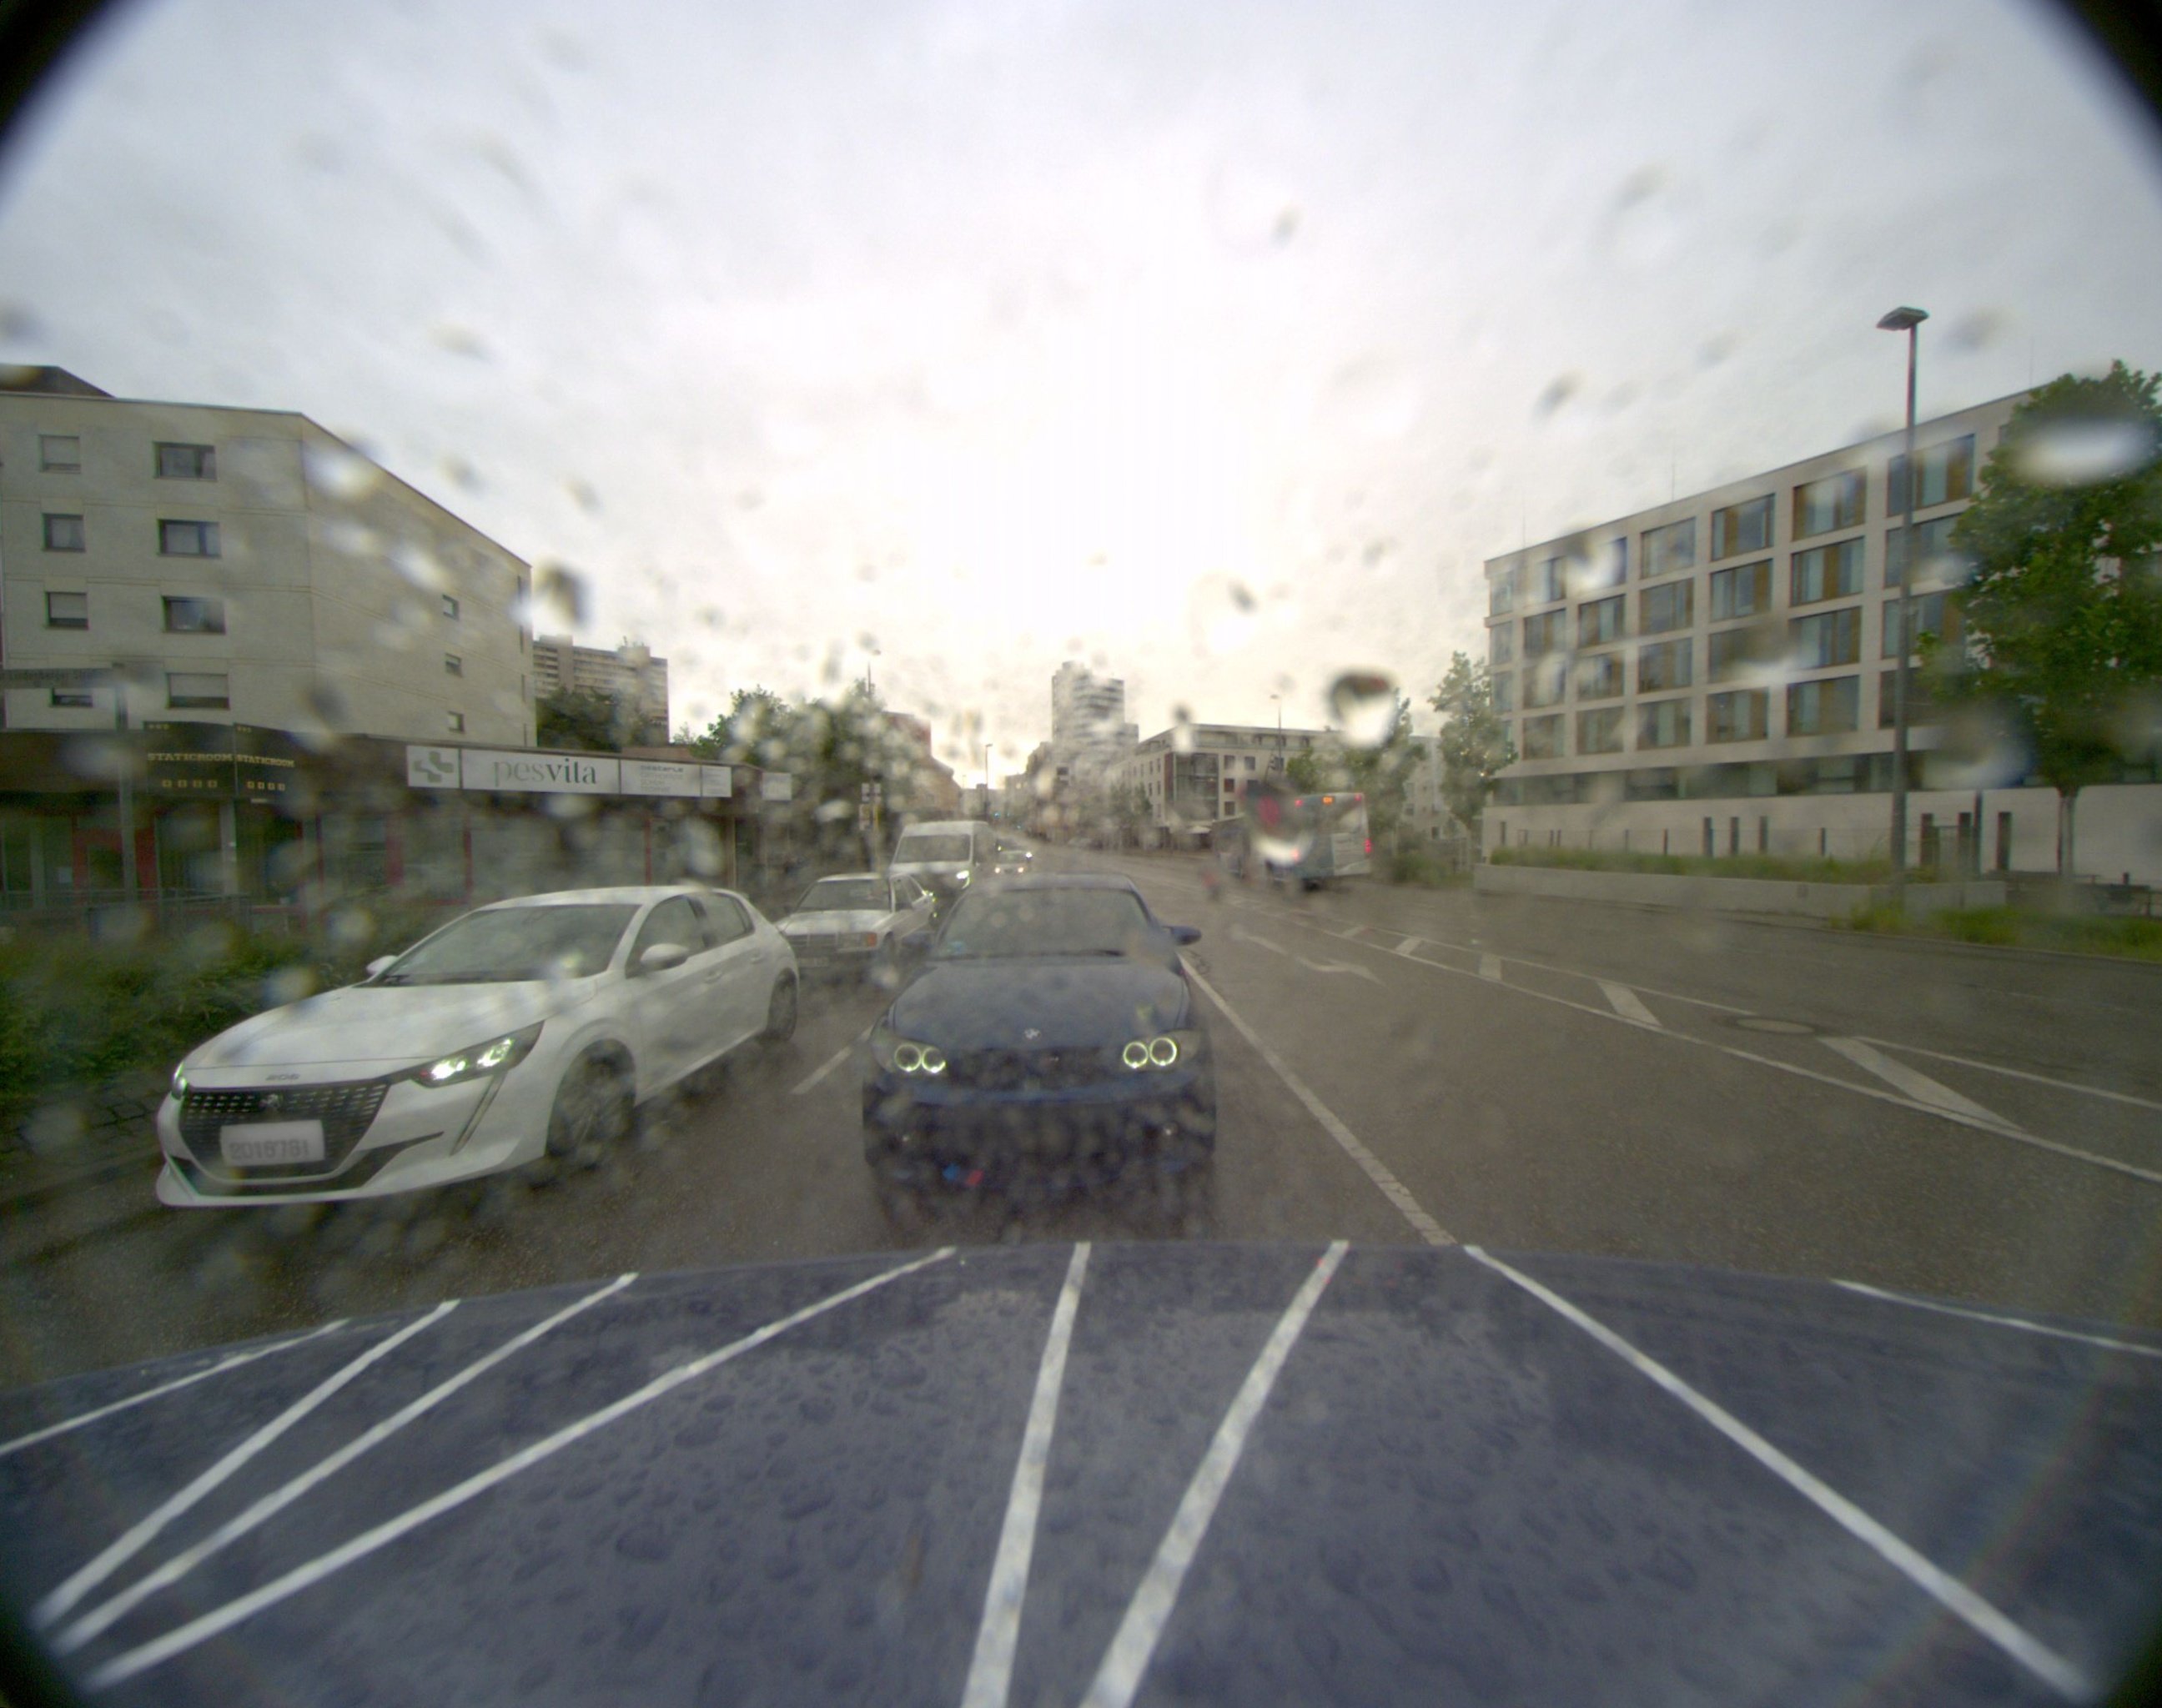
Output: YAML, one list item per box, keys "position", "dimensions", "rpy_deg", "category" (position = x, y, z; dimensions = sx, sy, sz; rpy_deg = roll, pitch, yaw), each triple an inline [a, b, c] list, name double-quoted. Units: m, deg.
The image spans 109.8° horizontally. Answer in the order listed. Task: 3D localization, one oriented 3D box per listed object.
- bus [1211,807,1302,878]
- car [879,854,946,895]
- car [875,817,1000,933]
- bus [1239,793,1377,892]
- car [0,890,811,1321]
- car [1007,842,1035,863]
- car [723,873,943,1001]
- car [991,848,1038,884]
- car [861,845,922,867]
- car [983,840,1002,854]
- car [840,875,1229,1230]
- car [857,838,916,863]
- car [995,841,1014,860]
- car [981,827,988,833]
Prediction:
- position: [8.470, -0.547, 37.838]
  dimensions: [2.798, 3.096, 8.884]
  rpy_deg: [0, 1, 2]
  category: "bus"
- position: [-6.933, 0.790, 31.612]
  dimensions: [1.788, 1.481, 4.000]
  rpy_deg: [-2, 1, 1]
  category: "car"
- position: [-3.488, 0.399, 19.840]
  dimensions: [2.197, 2.503, 6.120]
  rpy_deg: [-1, 1, -2]
  category: "car"
- position: [8.165, -0.426, 28.740]
  dimensions: [2.783, 3.096, 9.368]
  rpy_deg: [0, 1, 2]
  category: "bus"
- position: [-3.387, 1.086, 5.020]
  dimensions: [1.666, 1.407, 4.114]
  rpy_deg: [-2, 1, 1]
  category: "car"
- position: [-4.950, -0.168, 63.148]
  dimensions: [1.999, 1.559, 3.998]
  rpy_deg: [-2, 1, -1]
  category: "car"
- position: [-3.373, 1.062, 11.263]
  dimensions: [1.788, 1.338, 4.162]
  rpy_deg: [-2, 1, 1]
  category: "car"
- position: [-3.149, 0.543, 36.613]
  dimensions: [1.803, 1.530, 3.999]
  rpy_deg: [-2, 1, 1]
  category: "car"
- position: [-13.145, 0.116, 52.994]
  dimensions: [4.000, 1.419, 1.882]
  rpy_deg: [-1, 1, -10]
  category: "car"
- position: [-11.685, -0.895, 100.384]
  dimensions: [1.879, 1.745, 4.000]
  rpy_deg: [1, 0, 1]
  category: "car"
- position: [-0.248, 0.939, 5.389]
  dimensions: [1.693, 1.380, 3.999]
  rpy_deg: [-2, 1, -1]
  category: "car"
- position: [-14.133, -0.257, 55.406]
  dimensions: [4.000, 1.769, 1.882]
  rpy_deg: [-1, 1, -10]
  category: "car"
- position: [-8.355, -0.391, 83.024]
  dimensions: [1.999, 2.002, 3.997]
  rpy_deg: [-1, 1, -5]
  category: "car"
- position: [-26.818, -6.751, 211.472]
  dimensions: [1.666, 1.625, 3.801]
  rpy_deg: [-2, 1, -11]
  category: "car"
